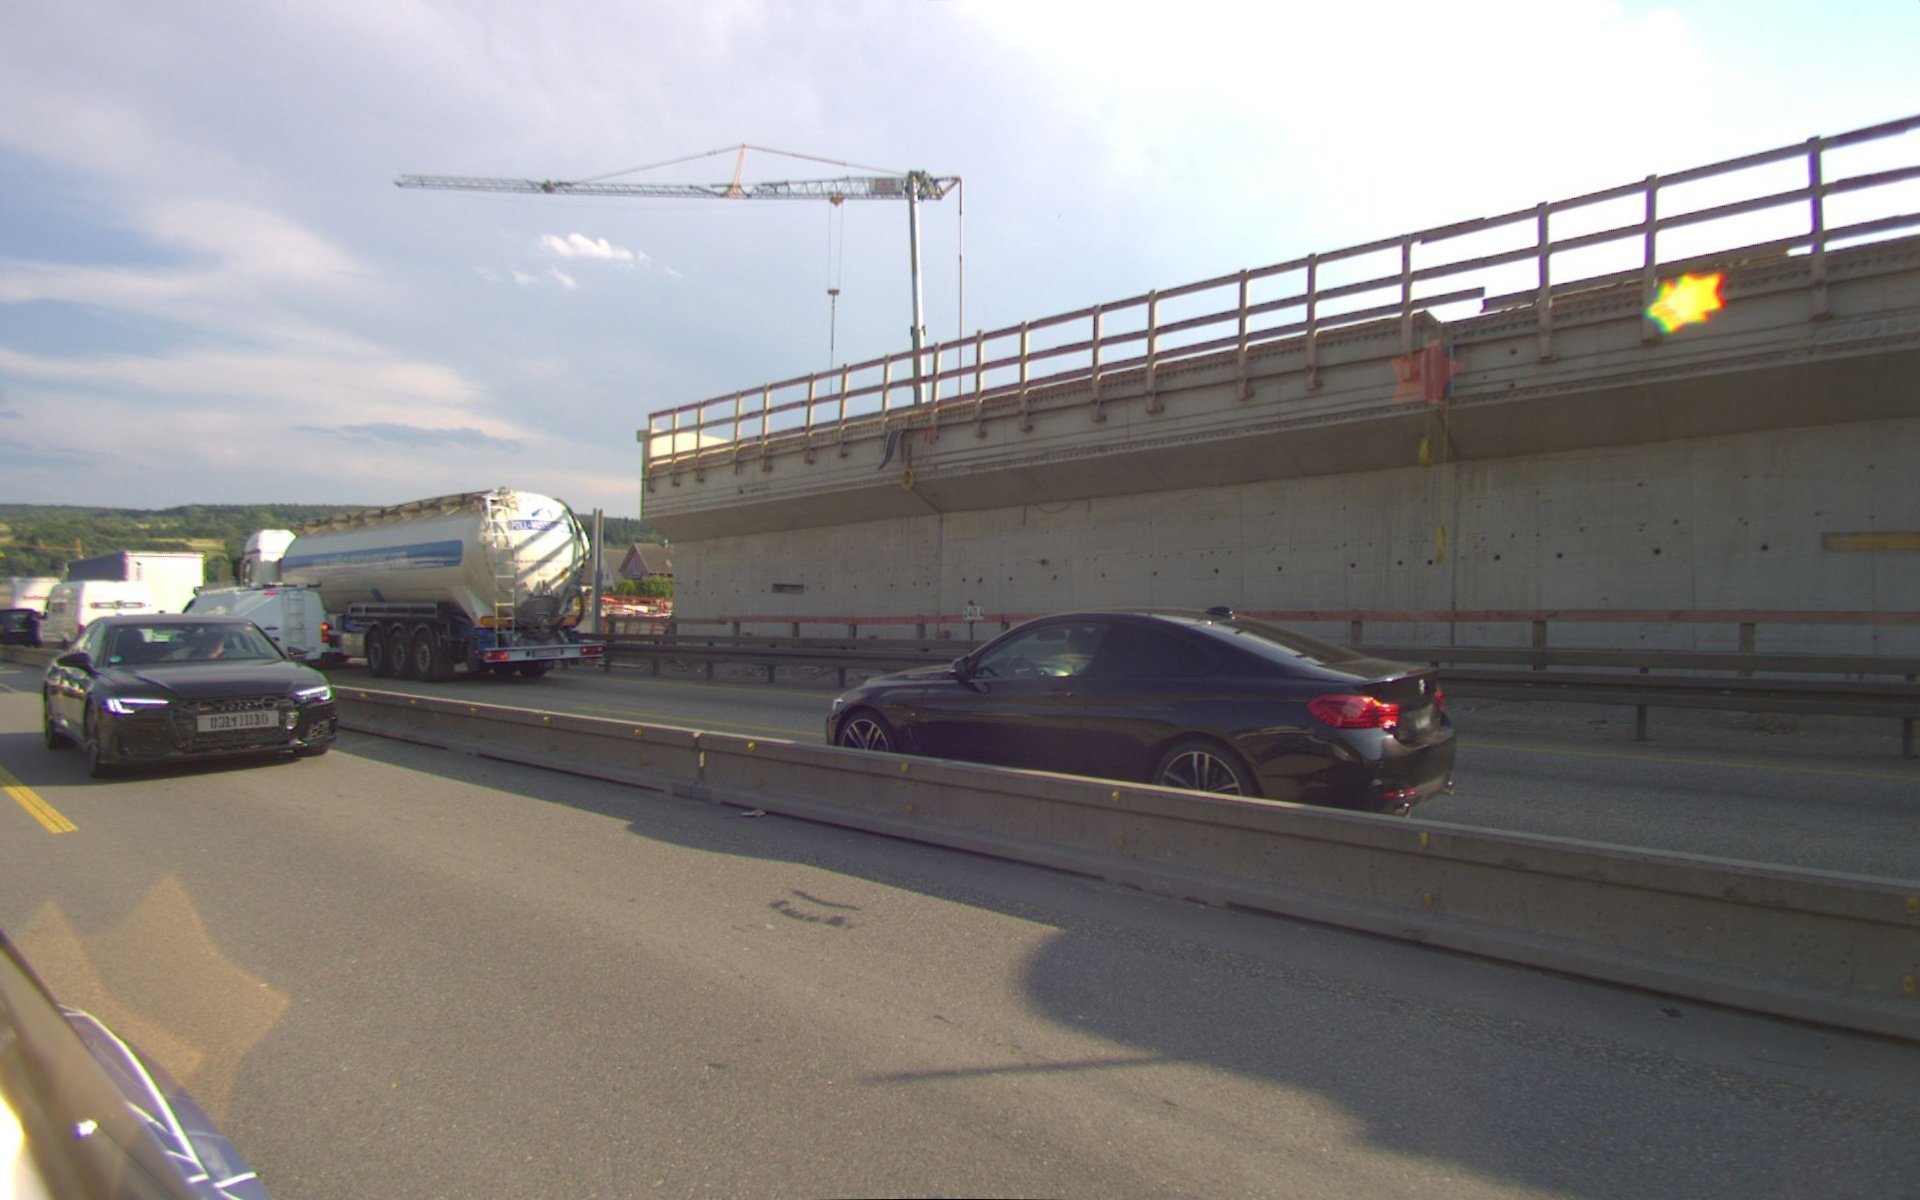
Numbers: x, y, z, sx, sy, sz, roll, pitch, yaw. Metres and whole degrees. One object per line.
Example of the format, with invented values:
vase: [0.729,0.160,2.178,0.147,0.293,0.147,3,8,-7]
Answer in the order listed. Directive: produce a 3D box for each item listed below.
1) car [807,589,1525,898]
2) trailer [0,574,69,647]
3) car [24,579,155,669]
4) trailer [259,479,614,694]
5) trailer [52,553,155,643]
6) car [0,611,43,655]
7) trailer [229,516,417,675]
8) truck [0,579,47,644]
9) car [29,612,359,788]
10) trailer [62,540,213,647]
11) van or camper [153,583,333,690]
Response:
car: [1.100,0.701,6.948,4.598,1.456,1.691,-1,0,41]
trailer: [-58.794,0.654,63.795,8.731,4.315,2.798,-1,0,41]
car: [-28.305,0.747,32.783,7.403,2.642,1.974,-1,0,39]
trailer: [-12.876,-0.165,23.717,13.436,3.879,2.625,-1,0,41]
trailer: [-41.333,-0.069,48.792,6.220,4.067,2.895,-1,0,41]
car: [-43.017,1.463,45.728,4.850,1.857,1.762,-1,0,41]
trailer: [-17.616,-0.077,27.819,6.426,3.879,2.625,-1,0,41]
truck: [-65.846,0.812,69.974,10.067,4.296,2.798,-1,0,41]
car: [-7.974,0.859,10.383,4.346,1.430,1.849,-1,-1,41]
trailer: [-36.313,-0.163,44.364,13.768,4.067,2.895,-1,0,41]
van or camper: [-15.376,0.714,21.571,5.291,2.029,1.839,-1,0,40]
